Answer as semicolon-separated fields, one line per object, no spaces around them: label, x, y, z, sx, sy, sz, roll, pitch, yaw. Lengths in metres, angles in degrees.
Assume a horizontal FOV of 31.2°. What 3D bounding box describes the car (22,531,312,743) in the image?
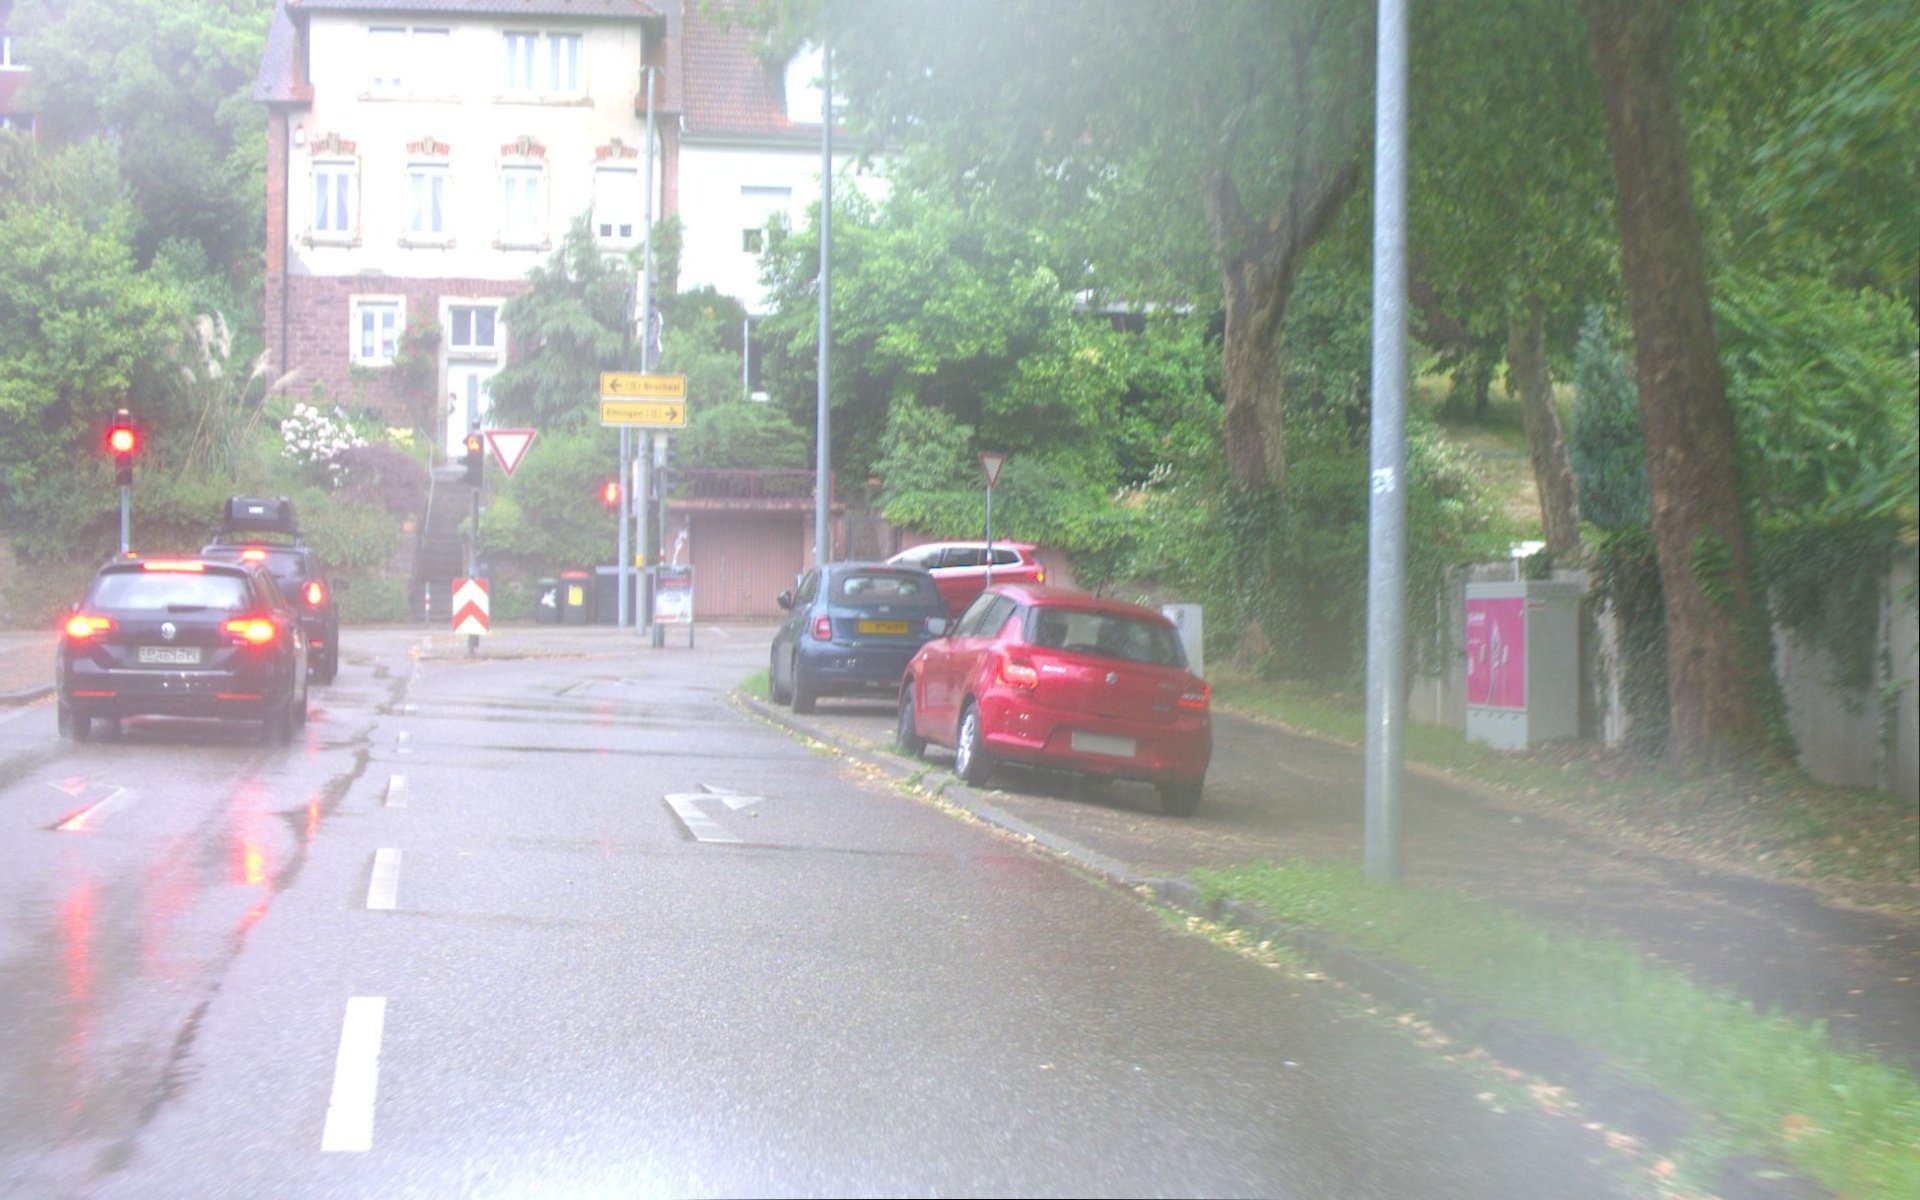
car;-6.362;0.234;28.022;1.831;1.451;4.660;3;1;-8

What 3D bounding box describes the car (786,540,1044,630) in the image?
car;-0.854;-0.276;63.356;4.567;1.595;1.775;0;-1;-7

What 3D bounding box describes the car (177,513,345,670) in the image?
car;-8.291;-0.146;41.048;1.760;1.705;4.602;2;1;-10

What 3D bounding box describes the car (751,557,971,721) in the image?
car;-1.062;0.368;34.989;1.749;1.486;3.600;3;0;-8

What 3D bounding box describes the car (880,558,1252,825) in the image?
car;0.698;0.615;25.536;1.819;1.512;3.744;8;1;-11
